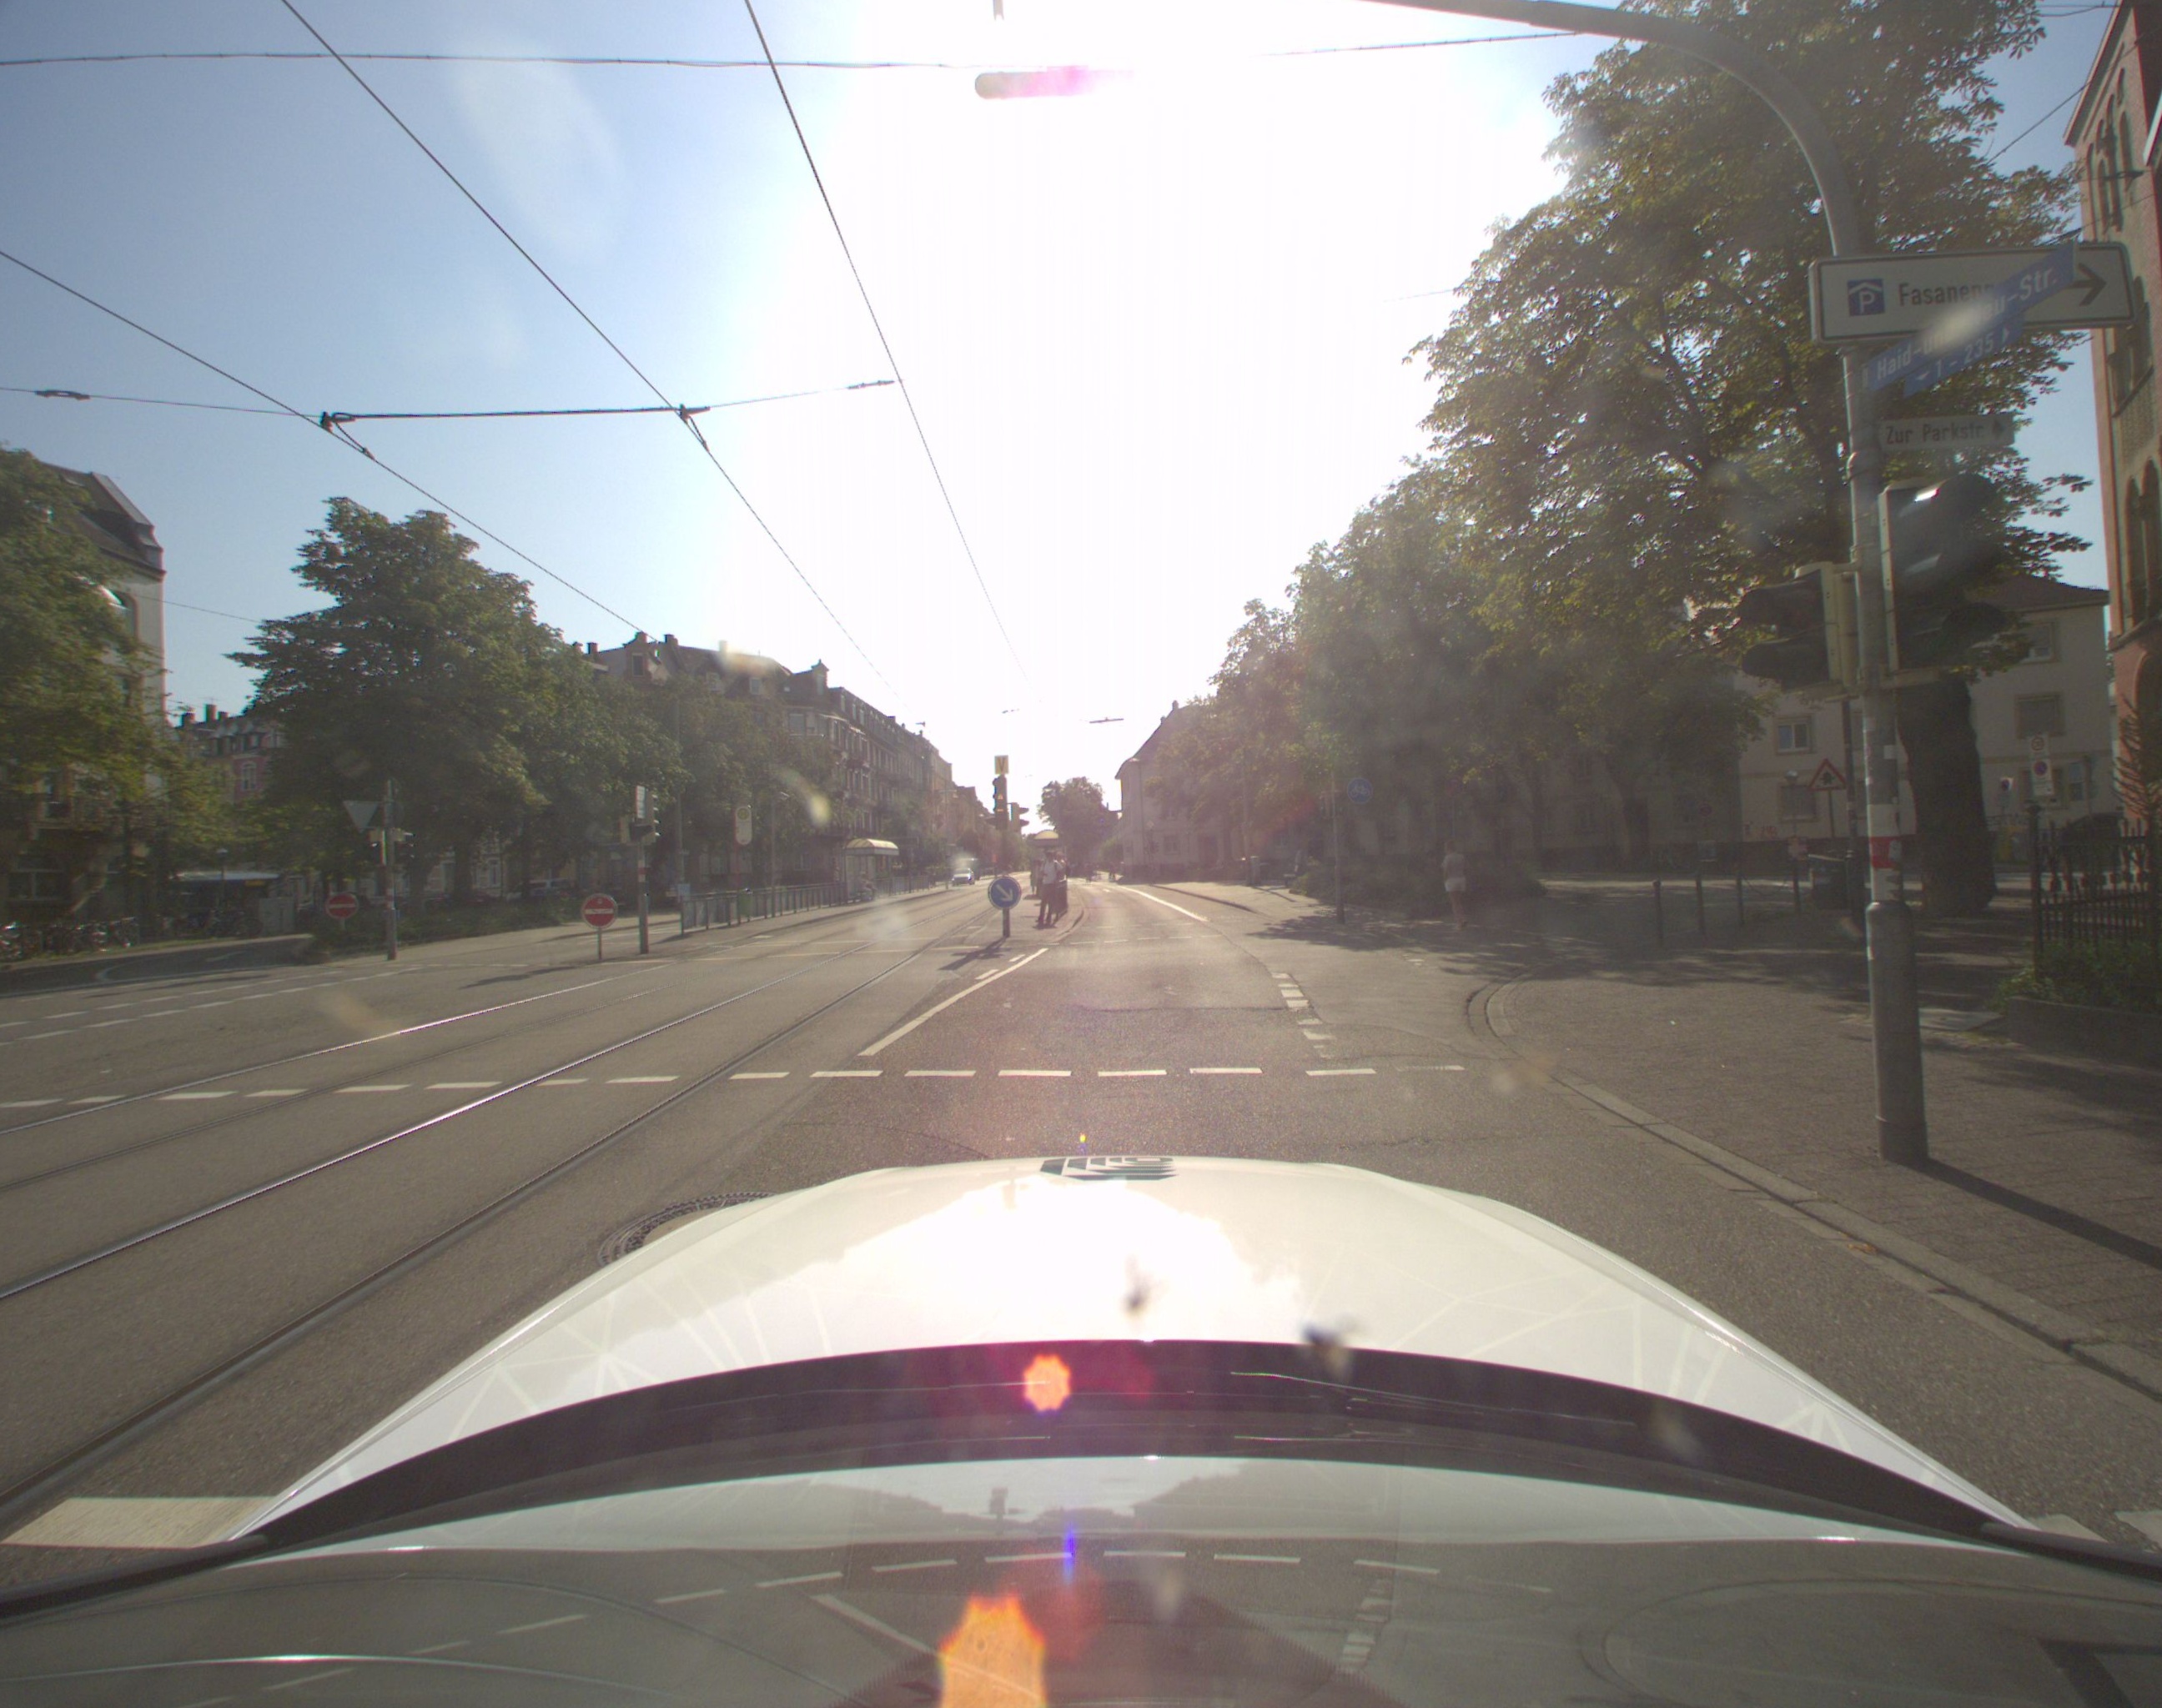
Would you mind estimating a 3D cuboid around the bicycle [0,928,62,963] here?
[{"bbox_3d":[-31.867,2.734,24.154,1.920,0.935,0.730,-1,-2,-35],"label":"bicycle"}]

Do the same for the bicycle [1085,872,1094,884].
[{"bbox_3d":[0.724,2.042,68.976,0.627,0.978,1.768,-3,-1,-2],"label":"bicycle"}]

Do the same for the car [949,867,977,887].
[{"bbox_3d":[-10.747,2.100,74.404,1.794,1.653,3.645,-3,-1,3],"label":"car"}]

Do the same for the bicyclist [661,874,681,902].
[{"bbox_3d":[-27.604,2.268,54.829,0.487,1.857,0.995,-4,-1,44],"label":"bicyclist"}]

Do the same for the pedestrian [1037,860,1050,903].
[{"bbox_3d":[-1.549,1.129,33.750,0.541,1.759,0.534,0,1,-1],"label":"pedestrian"}]

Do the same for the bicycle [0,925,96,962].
[{"bbox_3d":[-32.493,2.788,25.544,1.908,0.980,0.679,-1,-2,-35],"label":"bicycle"}]

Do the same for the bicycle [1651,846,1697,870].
[{"bbox_3d":[26.316,0.174,36.154,1.539,0.978,0.427,-3,-1,14],"label":"bicycle"}]

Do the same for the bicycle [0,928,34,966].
[{"bbox_3d":[-31.254,2.672,23.044,1.886,1.027,0.657,-1,-2,-35],"label":"bicycle"}]

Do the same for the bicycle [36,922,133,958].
[{"bbox_3d":[-32.859,2.819,26.898,1.908,0.980,0.679,-1,-2,-35],"label":"bicycle"}]

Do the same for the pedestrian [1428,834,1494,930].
[{"bbox_3d":[7.156,0.514,15.376,0.750,1.731,0.769,-2,-1,-10],"label":"pedestrian"}]

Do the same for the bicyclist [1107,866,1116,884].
[{"bbox_3d":[2.427,1.681,65.322,0.556,1.417,0.871,-3,-1,-2],"label":"bicyclist"}]

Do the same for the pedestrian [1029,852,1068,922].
[{"bbox_3d":[-0.826,0.825,20.790,0.693,1.725,0.753,1,2,32],"label":"pedestrian"}]

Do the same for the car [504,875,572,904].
[{"bbox_3d":[-38.020,2.502,57.027,3.953,1.828,2.010,-3,-1,20],"label":"car"}]

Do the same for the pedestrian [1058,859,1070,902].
[{"bbox_3d":[-0.705,1.118,34.569,0.502,1.759,0.534,0,1,-1],"label":"pedestrian"}]

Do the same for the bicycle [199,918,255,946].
[{"bbox_3d":[-34.577,3.153,32.997,0.423,0.978,1.769,-3,-1,-1],"label":"bicycle"}]

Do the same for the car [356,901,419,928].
[{"bbox_3d":[-53.654,4.681,62.990,3.953,1.828,2.010,-3,-1,20],"label":"car"}]

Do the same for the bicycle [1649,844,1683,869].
[{"bbox_3d":[26.953,0.115,37.544,1.556,1.039,0.423,-3,-1,-20],"label":"bicycle"}]

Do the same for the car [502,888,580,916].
[{"bbox_3d":[-35.005,3.089,52.819,4.285,1.569,2.010,-3,-1,20],"label":"car"}]

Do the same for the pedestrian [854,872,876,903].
[{"bbox_3d":[-9.873,1.536,37.259,0.826,1.359,0.775,-2,-1,-5],"label":"pedestrian"}]

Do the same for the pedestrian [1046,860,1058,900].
[{"bbox_3d":[-1.308,1.165,36.560,0.502,1.759,0.534,0,1,-1],"label":"pedestrian"}]

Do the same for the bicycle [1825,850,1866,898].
[{"bbox_3d":[16.987,0.436,18.084,1.779,0.978,0.421,-2,-1,-40],"label":"bicycle"}]

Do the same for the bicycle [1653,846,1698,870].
[{"bbox_3d":[26.154,0.189,35.848,1.539,0.978,0.427,-3,-1,14],"label":"bicycle"}]

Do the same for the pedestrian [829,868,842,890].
[{"bbox_3d":[-20.479,2.082,67.910,0.775,1.731,0.743,-2,-1,-39],"label":"pedestrian"}]

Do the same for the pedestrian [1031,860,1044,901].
[{"bbox_3d":[-1.915,1.168,35.971,0.530,1.759,0.545,0,1,0],"label":"pedestrian"}]

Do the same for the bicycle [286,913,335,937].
[{"bbox_3d":[-34.900,3.220,36.893,1.755,0.978,0.606,-3,-1,6],"label":"bicycle"}]

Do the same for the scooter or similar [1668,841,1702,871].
[{"bbox_3d":[26.181,0.089,35.324,1.059,1.197,0.462,-7,-2,31],"label":"scooter or similar"}]

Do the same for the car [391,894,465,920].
[{"bbox_3d":[-44.217,3.583,55.158,4.285,1.569,2.010,-3,-1,21],"label":"car"}]

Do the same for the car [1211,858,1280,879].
[{"bbox_3d":[11.575,1.023,57.580,4.280,1.320,2.013,-3,-1,38],"label":"car"}]

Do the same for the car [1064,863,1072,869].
[{"bbox_3d":[-3.935,3.645,252.567,1.983,1.783,4.007,-2,-1,6],"label":"car"}]

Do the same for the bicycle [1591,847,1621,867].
[{"bbox_3d":[27.213,0.170,42.203,0.423,0.978,1.554,-3,-1,-3],"label":"bicycle"}]

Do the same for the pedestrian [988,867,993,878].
[{"bbox_3d":[-14.056,2.895,126.320,0.750,1.731,0.769,-2,-1,-10],"label":"pedestrian"}]

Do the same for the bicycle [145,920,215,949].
[{"bbox_3d":[-35.670,3.173,32.261,1.772,0.978,0.516,-2,-1,-23],"label":"bicycle"}]

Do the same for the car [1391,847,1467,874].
[{"bbox_3d":[19.816,0.410,46.559,1.857,1.418,3.979,-2,-1,-15],"label":"car"}]

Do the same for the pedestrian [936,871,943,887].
[{"bbox_3d":[-16.092,2.807,92.488,0.750,1.731,0.769,-2,-1,-10],"label":"pedestrian"}]

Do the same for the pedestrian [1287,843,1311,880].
[{"bbox_3d":[10.454,0.355,38.991,0.883,1.740,0.781,-3,-1,28],"label":"pedestrian"}]

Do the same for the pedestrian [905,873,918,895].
[{"bbox_3d":[-13.981,2.477,67.167,0.747,1.731,0.772,-3,-1,1],"label":"pedestrian"}]

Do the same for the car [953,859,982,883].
[{"bbox_3d":[-13.408,1.967,96.604,2.337,2.662,5.109,-3,-1,3],"label":"car"}]

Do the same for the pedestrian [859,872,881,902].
[{"bbox_3d":[-9.906,1.553,38.235,0.826,1.359,0.775,-2,-1,-5],"label":"pedestrian"}]

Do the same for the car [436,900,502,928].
[{"bbox_3d":[-44.846,4.391,59.725,3.953,1.828,2.010,-3,-1,20],"label":"car"}]

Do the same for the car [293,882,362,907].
[{"bbox_3d":[-60.230,3.227,65.122,3.960,1.828,2.007,-3,-1,12],"label":"car"}]

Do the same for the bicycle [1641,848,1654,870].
[{"bbox_3d":[26.031,0.220,37.411,0.420,0.978,1.566,-3,-1,37],"label":"bicycle"}]

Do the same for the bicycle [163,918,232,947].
[{"bbox_3d":[-35.812,3.183,33.035,1.773,0.978,0.600,-2,-1,-24],"label":"bicycle"}]

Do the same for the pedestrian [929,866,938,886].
[{"bbox_3d":[-13.331,1.988,73.580,0.750,1.731,0.769,-2,-1,-10],"label":"pedestrian"}]

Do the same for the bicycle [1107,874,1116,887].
[{"bbox_3d":[2.453,2.109,65.302,0.556,0.978,1.854,-3,-1,-2],"label":"bicycle"}]

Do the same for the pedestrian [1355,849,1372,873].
[{"bbox_3d":[21.087,0.491,60.811,0.780,1.740,0.883,-2,-1,-42],"label":"pedestrian"}]

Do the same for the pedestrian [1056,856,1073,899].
[{"bbox_3d":[-0.693,0.981,33.954,0.706,1.759,0.534,0,1,-1],"label":"pedestrian"}]

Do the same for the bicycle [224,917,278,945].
[{"bbox_3d":[-34.214,3.152,33.591,0.423,0.978,1.769,-3,-1,-1],"label":"bicycle"}]

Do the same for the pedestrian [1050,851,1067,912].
[{"bbox_3d":[-0.695,0.836,25.058,0.502,1.834,0.534,0,1,-1],"label":"pedestrian"}]

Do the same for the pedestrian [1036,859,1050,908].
[{"bbox_3d":[-1.379,1.054,29.746,0.502,1.759,0.534,0,1,-1],"label":"pedestrian"}]

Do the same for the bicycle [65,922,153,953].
[{"bbox_3d":[-33.662,2.887,28.224,1.878,0.935,0.634,-2,-2,-19],"label":"bicycle"}]

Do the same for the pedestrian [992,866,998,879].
[{"bbox_3d":[-11.933,2.561,112.955,0.750,1.731,0.769,-2,-1,-10],"label":"pedestrian"}]

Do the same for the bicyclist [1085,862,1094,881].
[{"bbox_3d":[0.704,1.475,68.983,0.627,1.507,0.678,-3,-1,-3],"label":"bicyclist"}]
